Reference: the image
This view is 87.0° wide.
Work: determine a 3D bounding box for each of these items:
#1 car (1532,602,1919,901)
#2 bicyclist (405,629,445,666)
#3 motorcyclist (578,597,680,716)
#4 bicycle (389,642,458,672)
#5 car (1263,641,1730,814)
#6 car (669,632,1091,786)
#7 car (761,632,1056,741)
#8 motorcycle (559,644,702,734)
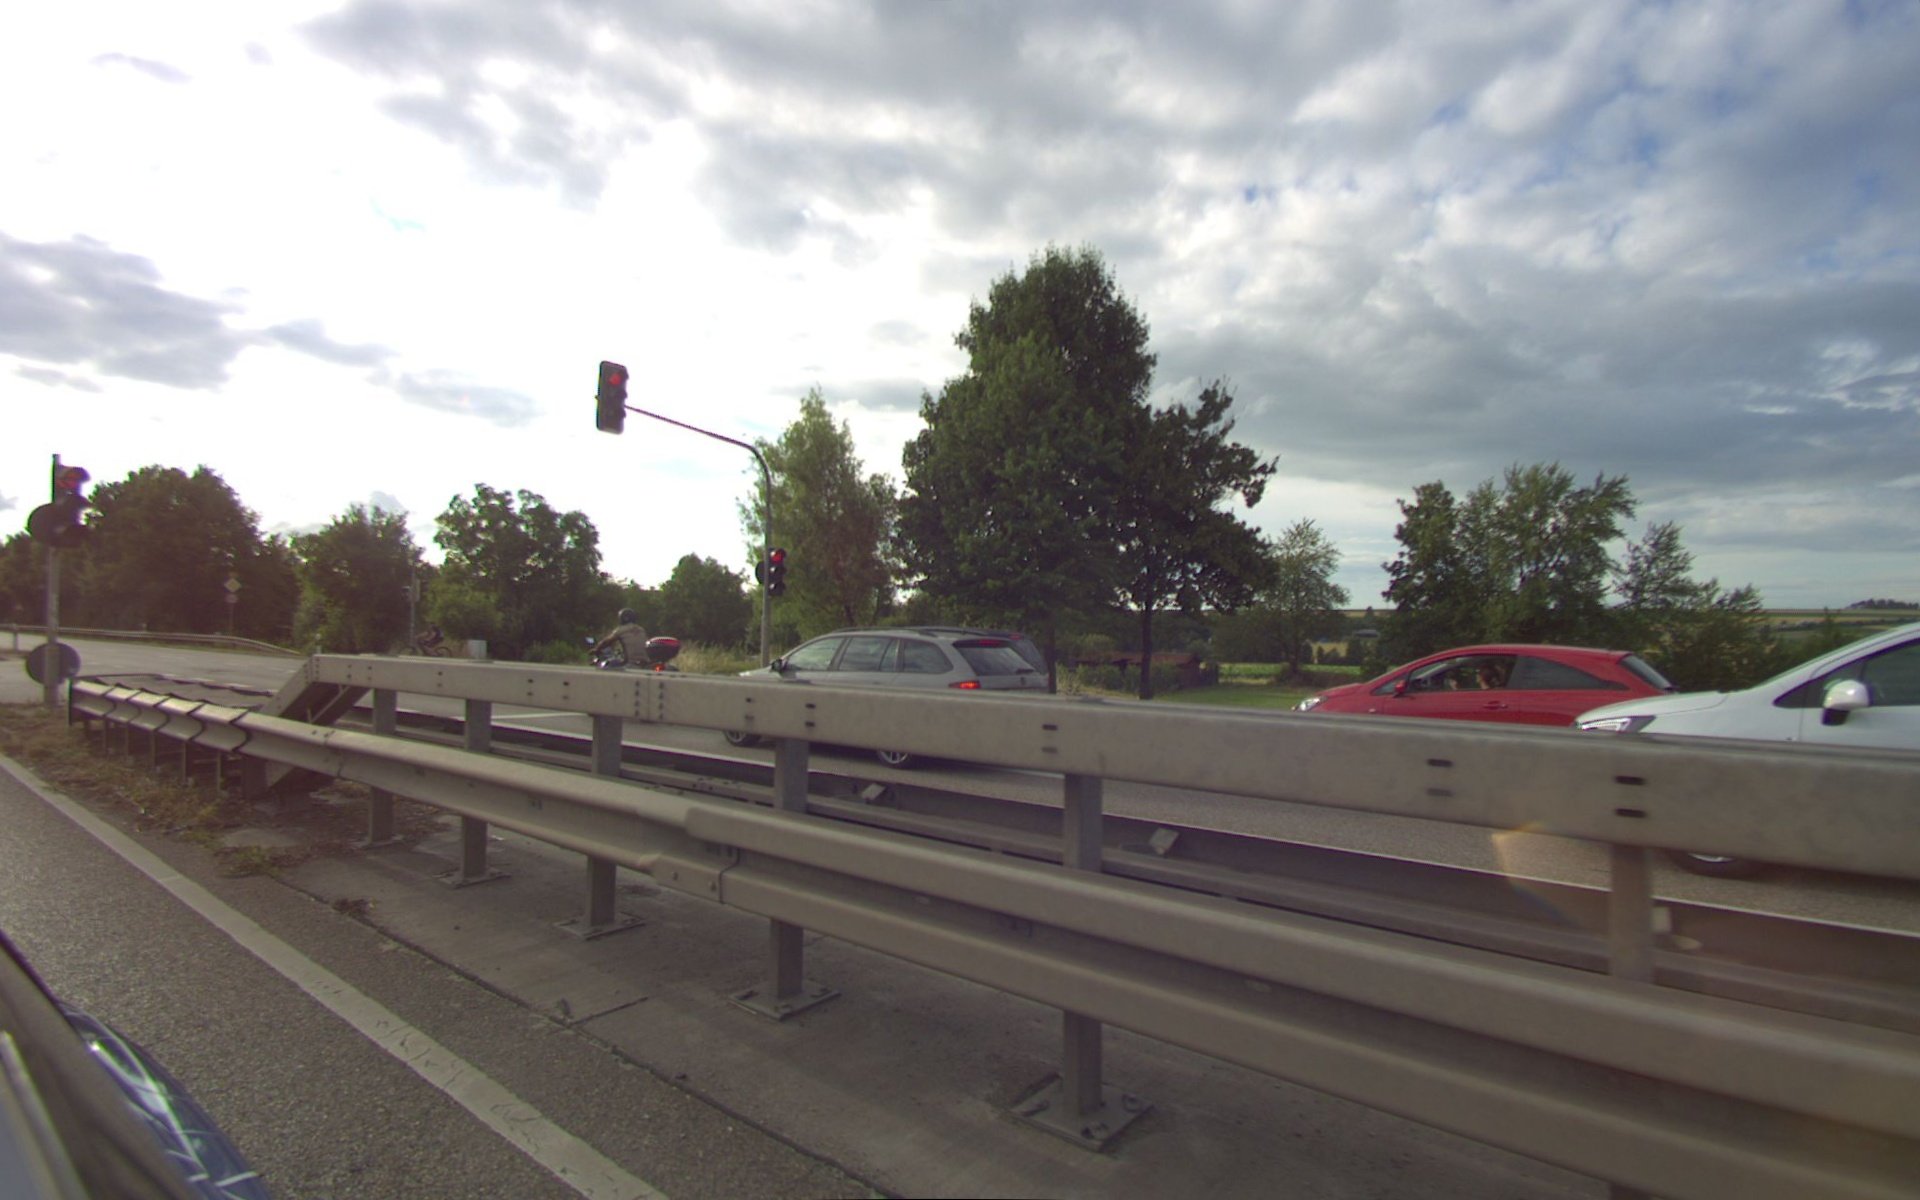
[{"bbox_3d":[6.079,0.851,6.012,4.402,1.622,1.888,-1,-3,40],"label":"car"},{"bbox_3d":[-21.302,1.892,40.293,1.208,1.462,0.816,3,-3,-44],"label":"bicyclist"},{"bbox_3d":[-5.070,0.852,15.516,1.275,1.722,0.907,-1,-3,41],"label":"motorcyclist"},{"bbox_3d":[-21.323,2.270,40.249,2.292,1.146,0.816,3,-3,-44],"label":"bicycle"},{"bbox_3d":[5.675,1.212,10.986,4.181,1.476,1.888,-1,-3,40],"label":"car"},{"bbox_3d":[-1.138,1.119,11.959,5.148,1.439,1.888,-1,-3,40],"label":"car"},{"bbox_3d":[-0.973,1.317,16.726,4.935,1.547,1.888,-1,-3,40],"label":"car"},{"bbox_3d":[-5.072,1.318,15.501,2.477,1.212,0.907,-1,-3,41],"label":"motorcycle"}]
